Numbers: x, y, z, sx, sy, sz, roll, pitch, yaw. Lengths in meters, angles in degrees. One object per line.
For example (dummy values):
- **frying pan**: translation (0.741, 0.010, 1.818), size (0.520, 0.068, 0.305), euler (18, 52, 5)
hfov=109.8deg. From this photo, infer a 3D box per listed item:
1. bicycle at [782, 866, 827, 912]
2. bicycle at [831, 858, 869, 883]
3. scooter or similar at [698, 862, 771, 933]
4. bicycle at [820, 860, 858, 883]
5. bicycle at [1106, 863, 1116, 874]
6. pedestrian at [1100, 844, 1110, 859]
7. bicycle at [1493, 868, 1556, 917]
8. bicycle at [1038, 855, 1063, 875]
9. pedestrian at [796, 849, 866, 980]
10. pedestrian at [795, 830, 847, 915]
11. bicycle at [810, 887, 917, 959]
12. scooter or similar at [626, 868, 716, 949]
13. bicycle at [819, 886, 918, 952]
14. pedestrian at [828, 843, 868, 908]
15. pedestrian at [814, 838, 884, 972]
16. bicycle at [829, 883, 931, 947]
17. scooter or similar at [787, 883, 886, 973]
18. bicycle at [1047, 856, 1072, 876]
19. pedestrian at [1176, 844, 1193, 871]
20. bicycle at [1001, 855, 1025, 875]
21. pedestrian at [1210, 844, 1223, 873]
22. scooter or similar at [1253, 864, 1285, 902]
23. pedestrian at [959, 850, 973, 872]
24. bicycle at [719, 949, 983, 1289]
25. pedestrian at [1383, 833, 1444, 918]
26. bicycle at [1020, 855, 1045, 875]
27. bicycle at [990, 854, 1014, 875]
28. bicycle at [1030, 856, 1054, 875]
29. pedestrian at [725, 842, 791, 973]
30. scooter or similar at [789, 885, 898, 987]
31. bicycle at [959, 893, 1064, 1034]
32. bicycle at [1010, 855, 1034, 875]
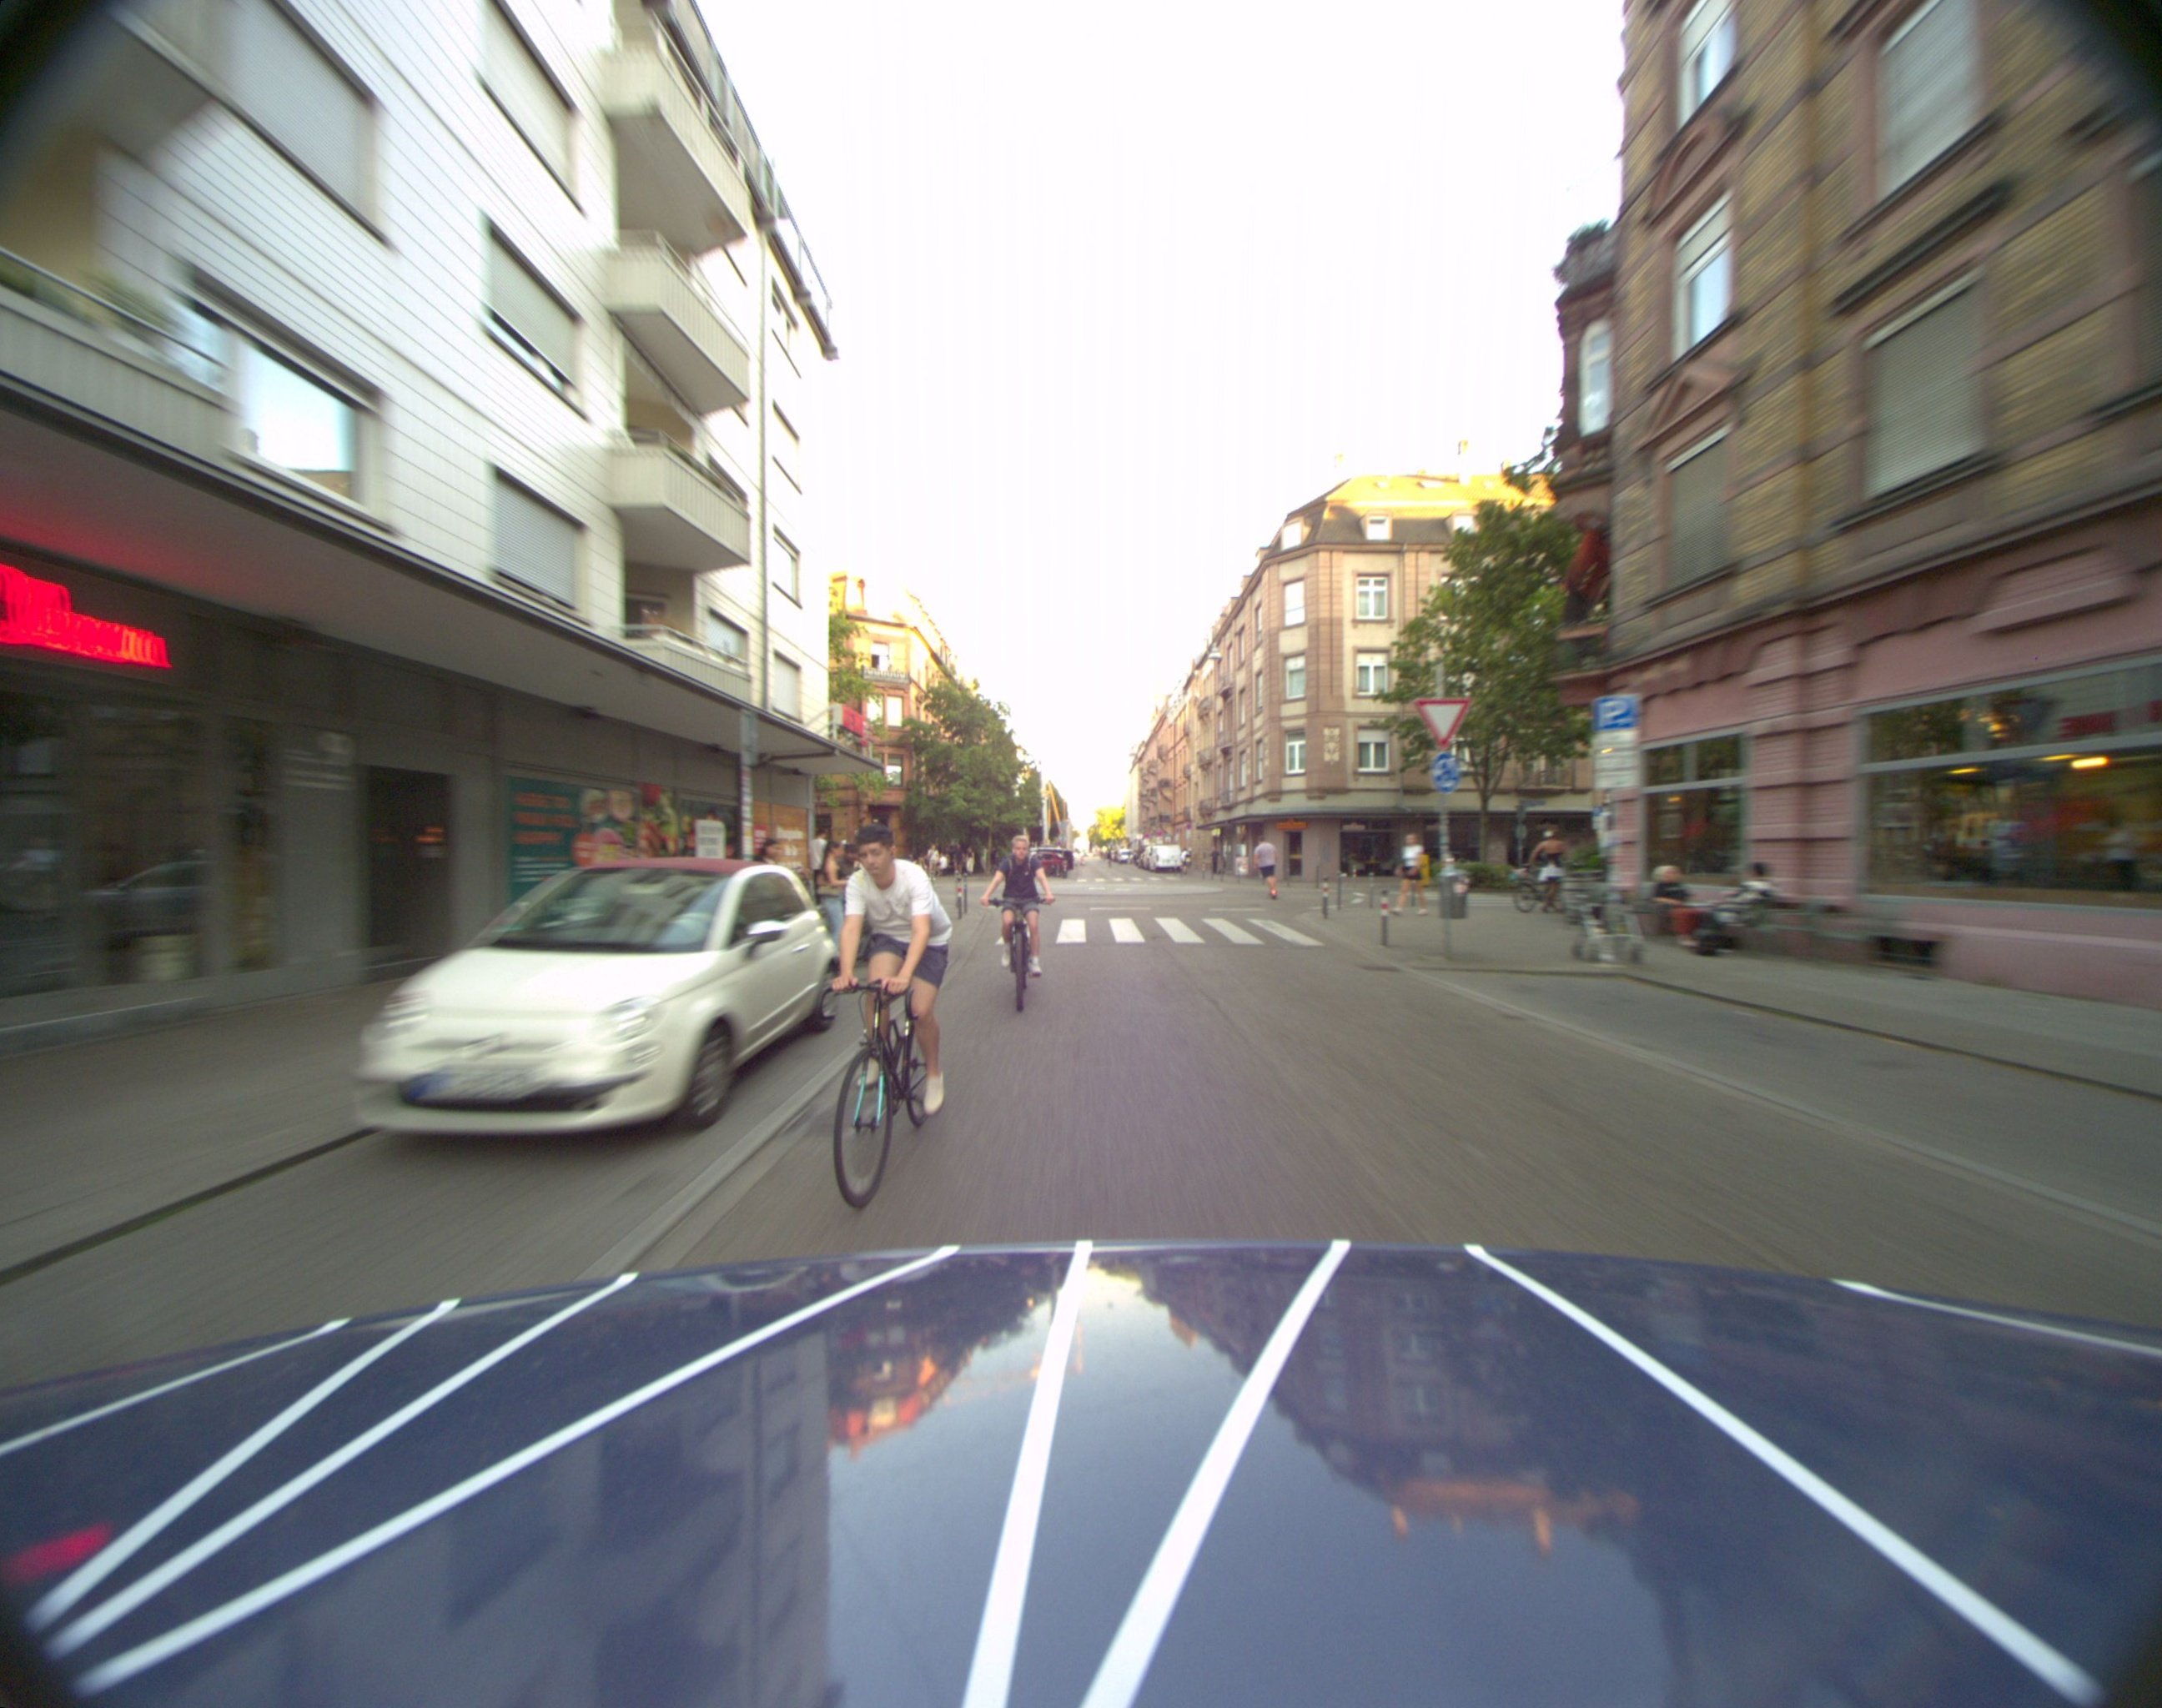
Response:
- **bicycle**: translation (-6.790, 0.830, 18.722), size (0.457, 1.019, 1.782), euler (-1, 1, -1)
- **bicycle**: translation (-11.598, 0.801, 38.240), size (0.711, 1.148, 1.887), euler (0, 2, 27)
- **scooter or similar**: translation (-6.583, 0.795, 14.534), size (0.479, 1.211, 1.624), euler (1, 2, 7)
- **bicycle**: translation (-12.243, 0.884, 38.536), size (0.711, 1.046, 1.887), euler (0, 2, 27)
- **bicycle**: translation (3.191, 1.546, 80.248), size (0.754, 1.124, 1.975), euler (-1, 0, -6)
- **pedestrian**: translation (3.932, -0.412, 125.199), size (1.394, 2.465, 1.237), euler (0, 1, 17)
- **bicycle**: translation (9.919, 0.835, 16.977), size (1.779, 1.019, 0.611), euler (0, -1, -40)
- **bicycle**: translation (-1.928, 0.692, 47.387), size (0.666, 1.162, 2.111), euler (1, 1, -27)
- **pedestrian**: translation (-3.191, 0.740, 9.699), size (0.649, 1.591, 0.590), euler (0, 1, -40)
- **pedestrian**: translation (-6.072, 0.414, 17.798), size (0.763, 1.901, 1.190), euler (2, 1, 1)
- **bicycle**: translation (-3.316, 1.035, 11.611), size (1.482, 0.996, 0.511), euler (2, 2, 7)
- **scooter or similar**: translation (-6.513, 0.832, 12.116), size (0.536, 1.197, 1.166), euler (0, 1, 27)
- **bicycle**: translation (-3.366, 1.026, 12.088), size (1.421, 0.978, 0.510), euler (1, 2, -3)
- **pedestrian**: translation (-6.090, 0.559, 19.903), size (0.663, 1.642, 0.883), euler (2, 1, 3)
- **pedestrian**: translation (-3.145, 0.669, 10.348), size (0.662, 1.746, 0.738), euler (1, 1, 5)
- **bicycle**: translation (-3.351, 1.013, 12.738), size (1.552, 0.996, 0.510), euler (1, 2, -3)
- **scooter or similar**: translation (-3.260, 0.984, 10.215), size (1.163, 1.164, 0.537), euler (1, -1, -7)
- **bicycle**: translation (-1.361, 0.708, 47.261), size (0.666, 1.162, 2.111), euler (1, 1, -27)
- **pedestrian**: translation (6.814, 0.229, 49.871), size (0.747, 1.734, 1.215), euler (-1, 1, 26)
- **bicycle**: translation (-4.108, 0.651, 45.928), size (0.666, 1.158, 2.111), euler (1, 1, -27)
- **pedestrian**: translation (8.571, 0.284, 48.124), size (0.654, 1.768, 0.693), euler (-1, 0, 18)
- **scooter or similar**: translation (5.775, 0.871, 23.385), size (0.809, 1.098, 1.172), euler (0, 0, 6)
- **pedestrian**: translation (-7.089, 0.425, 46.736), size (0.722, 1.298, 0.750), euler (0, 1, -20)
- **bicycle**: translation (-1.003, 1.141, 3.867), size (0.658, 1.012, 1.917), euler (-1, 2, 2)
- **pedestrian**: translation (7.268, 0.486, 16.666), size (1.047, 1.800, 0.757), euler (-1, -1, 12)
- **bicycle**: translation (-2.988, 0.682, 46.573), size (0.666, 1.125, 2.111), euler (1, 1, -27)
- **bicycle**: translation (-4.771, 0.633, 45.615), size (0.666, 1.158, 2.111), euler (1, 1, -27)
- **bicycle**: translation (-2.414, 0.700, 46.918), size (0.666, 1.125, 2.111), euler (1, 1, -27)
- **pedestrian**: translation (-4.148, 0.671, 9.793), size (0.562, 1.622, 0.726), euler (1, 0, -7)
- **scooter or similar**: translation (-2.936, 0.984, 9.450), size (0.535, 1.164, 1.166), euler (0, -1, 40)
- **bicycle**: translation (-0.650, 1.045, 7.977), size (0.794, 1.133, 2.343), euler (-1, 0, 2)
- **bicycle**: translation (-3.584, 0.671, 46.215), size (0.666, 1.125, 2.111), euler (1, 1, -27)
